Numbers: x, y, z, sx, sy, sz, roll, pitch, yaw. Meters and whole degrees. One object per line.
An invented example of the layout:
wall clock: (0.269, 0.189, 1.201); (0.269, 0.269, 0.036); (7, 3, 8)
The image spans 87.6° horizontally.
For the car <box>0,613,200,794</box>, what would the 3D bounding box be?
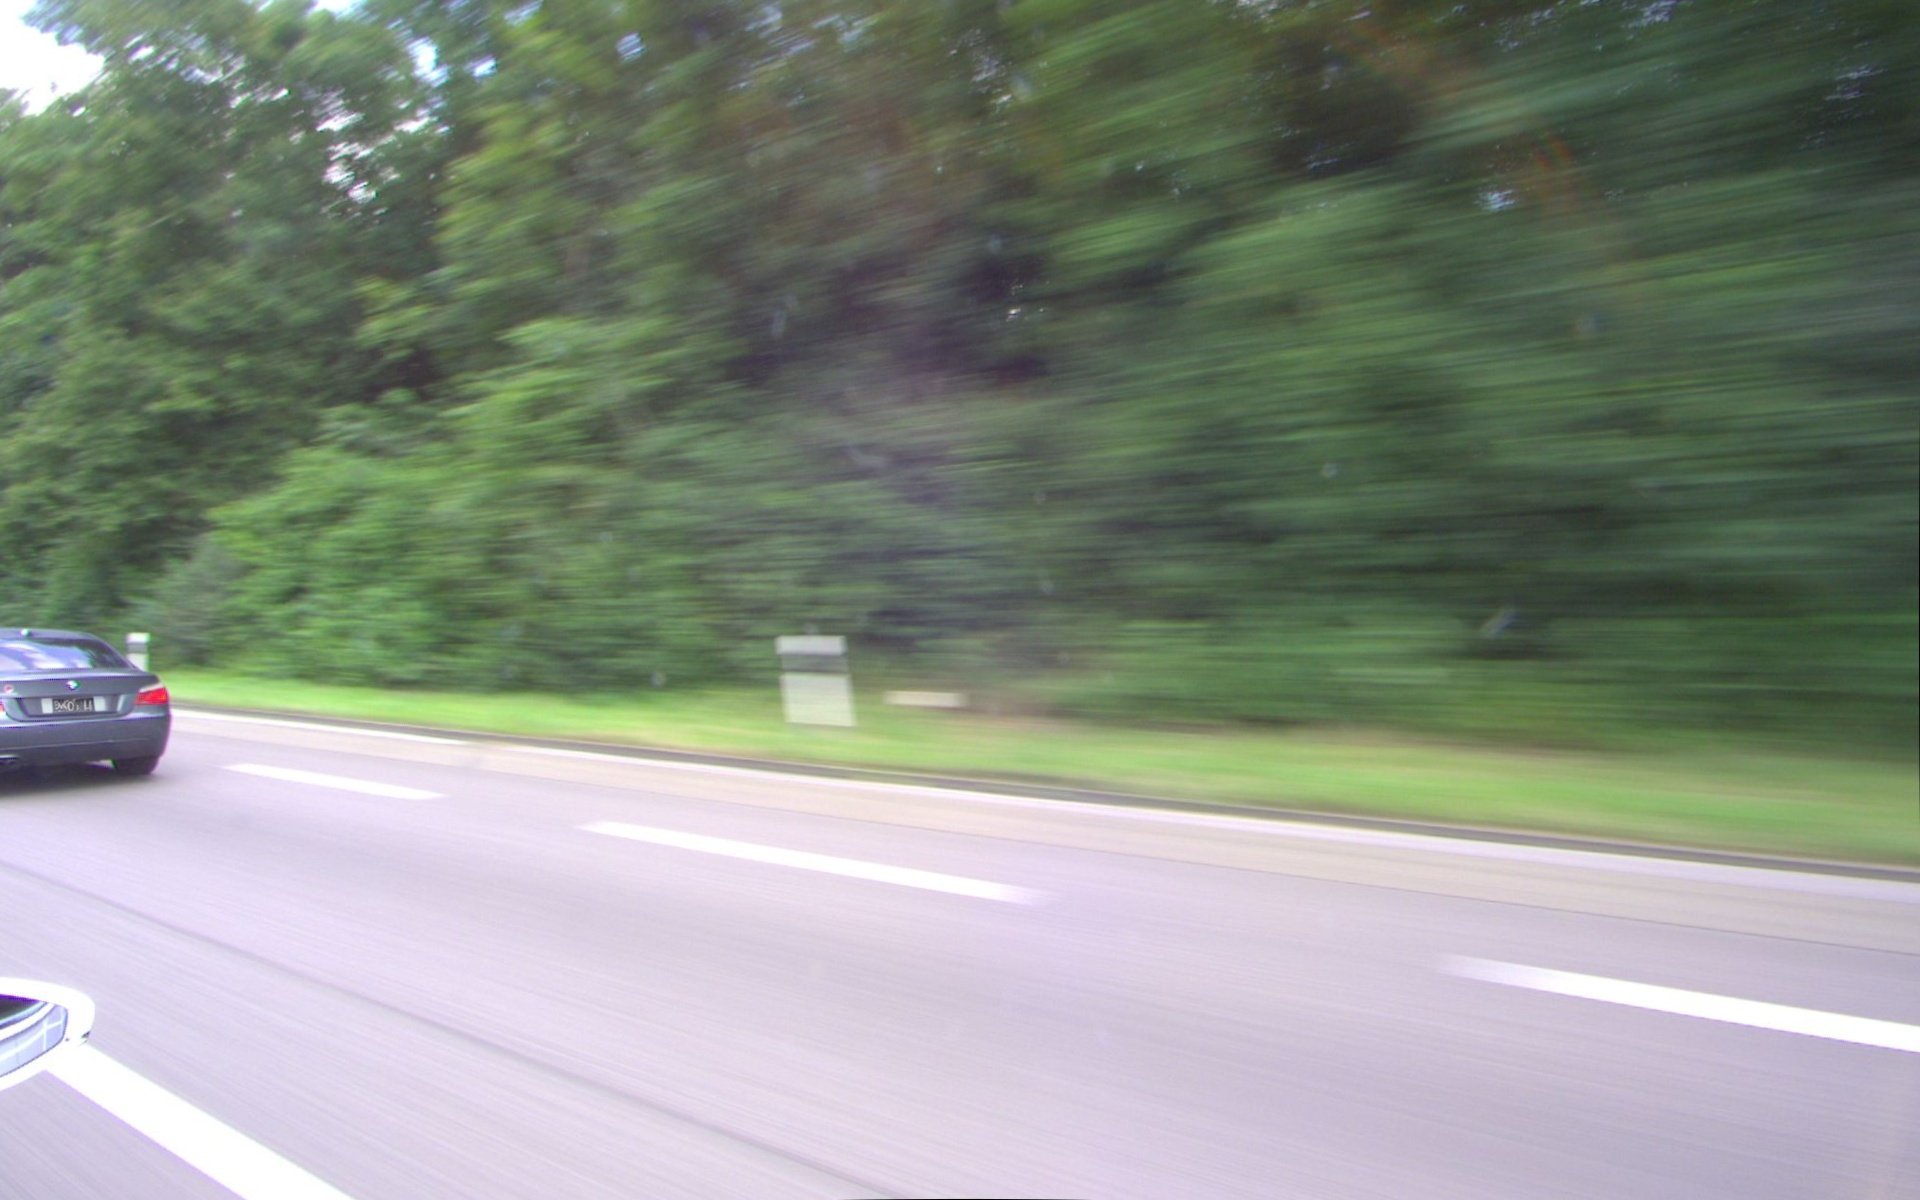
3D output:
car: (-9.719, 0.897, 10.022); (4.810, 1.494, 1.771); (-1, -2, 32)
